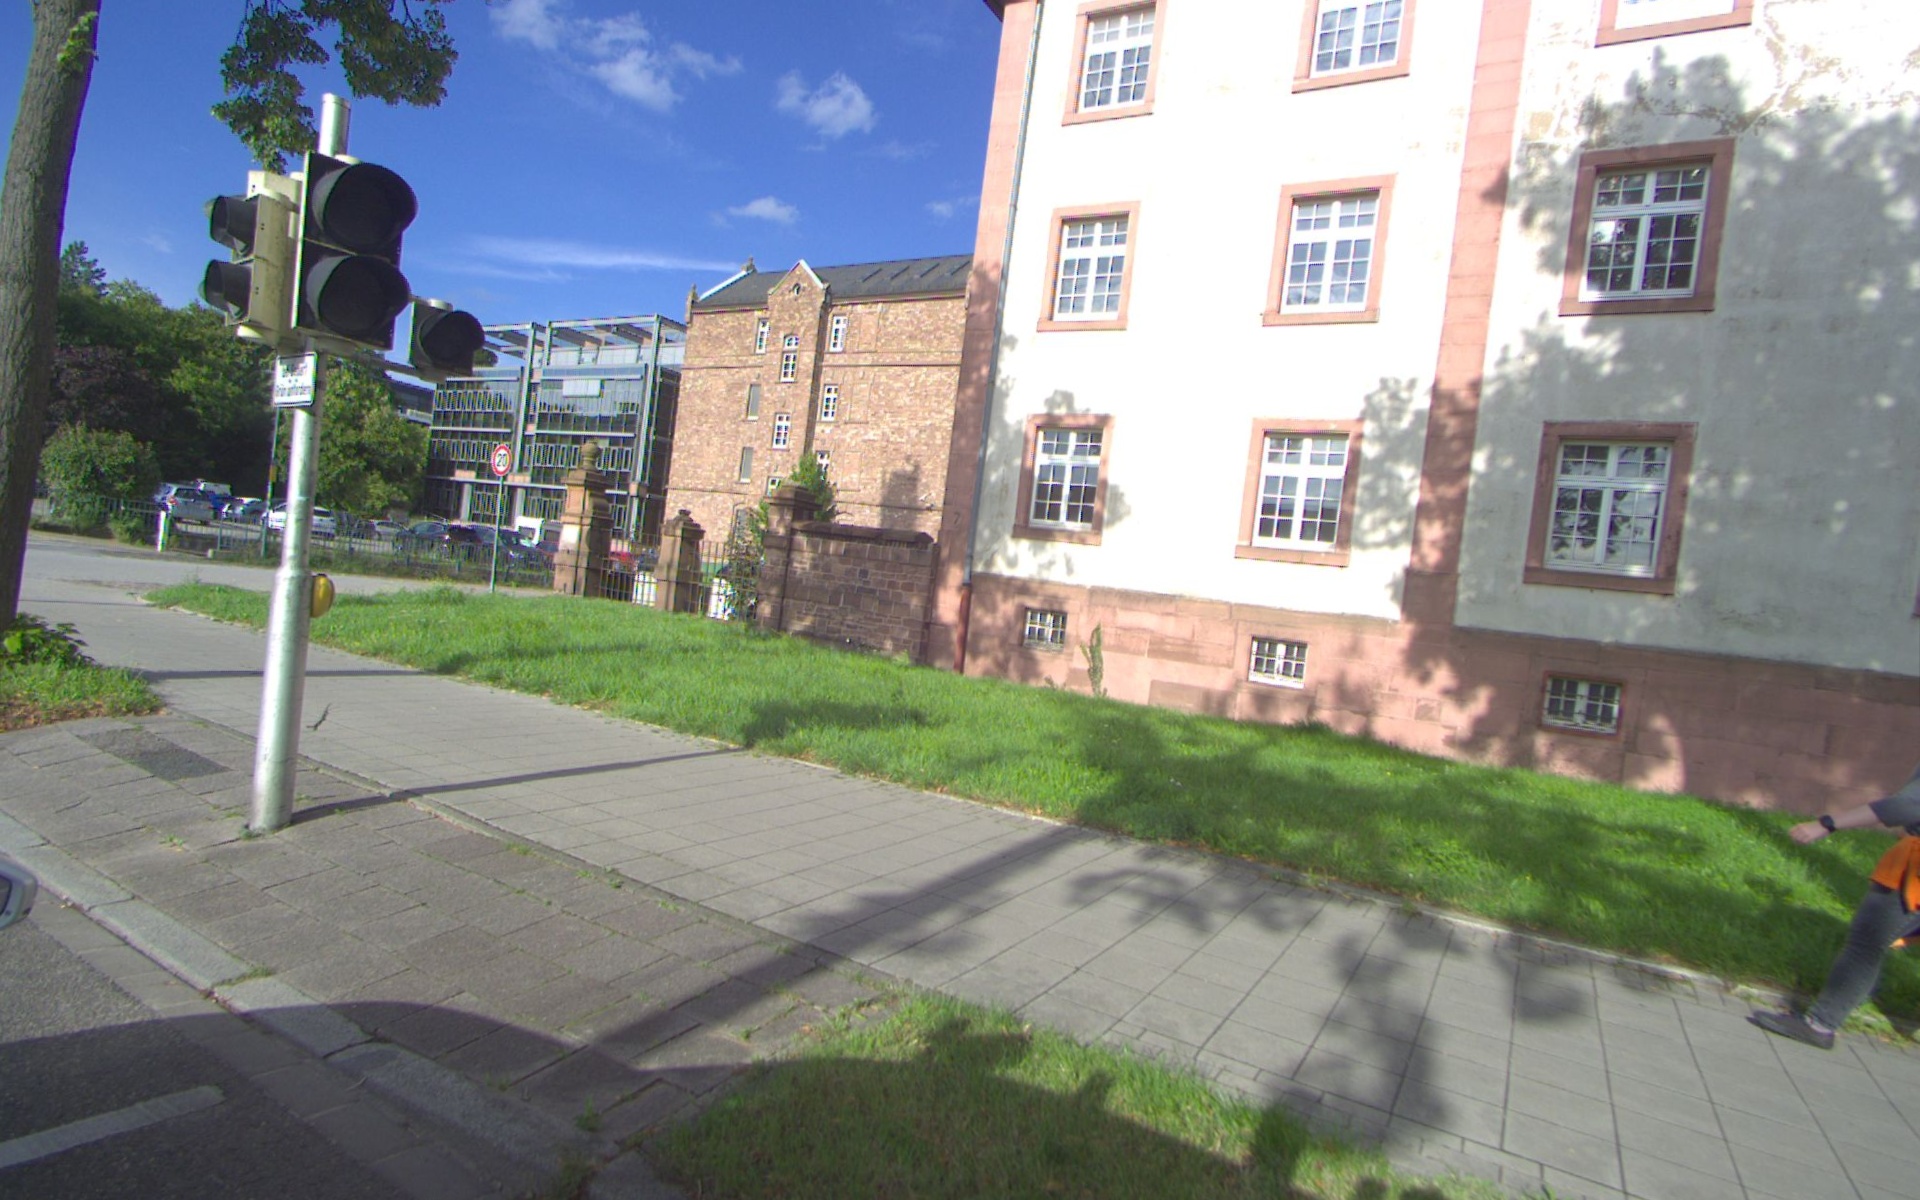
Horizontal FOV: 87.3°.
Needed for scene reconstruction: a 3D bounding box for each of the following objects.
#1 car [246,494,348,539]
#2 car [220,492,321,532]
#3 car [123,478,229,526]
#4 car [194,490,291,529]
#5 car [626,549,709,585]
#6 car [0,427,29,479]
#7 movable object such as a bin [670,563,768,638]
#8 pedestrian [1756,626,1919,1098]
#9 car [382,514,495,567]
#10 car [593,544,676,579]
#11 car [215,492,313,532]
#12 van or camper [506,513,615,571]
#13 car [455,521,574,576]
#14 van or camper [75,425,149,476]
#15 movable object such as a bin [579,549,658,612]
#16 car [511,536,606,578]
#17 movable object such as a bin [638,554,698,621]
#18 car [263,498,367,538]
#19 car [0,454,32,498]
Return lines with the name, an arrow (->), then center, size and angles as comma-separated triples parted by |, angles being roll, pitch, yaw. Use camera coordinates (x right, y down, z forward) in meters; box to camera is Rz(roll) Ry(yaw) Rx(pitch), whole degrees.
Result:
car -> -29.961, -3.783, 45.477 | 3.928, 1.460, 1.998 | 7, 1, 24
car -> -37.339, -4.761, 54.551 | 1.966, 1.505, 3.992 | 8, 1, 30
car -> -32.449, -4.073, 41.643 | 3.931, 1.460, 1.996 | 8, 1, 28
car -> -41.271, -5.178, 57.935 | 1.966, 1.572, 3.992 | 8, 1, 30
car -> -16.012, -1.801, 55.191 | 1.966, 1.460, 3.991 | 8, 1, 31
car -> -44.622, -6.859, 44.883 | 1.968, 2.214, 4.120 | 8, 1, 34
movable object such as a bin -> -5.579, 0.020, 23.309 | 1.517, 1.477, 1.416 | 7, 0, 28
pedestrian -> 3.657, 0.943, 3.781 | 0.756, 1.612, 0.814 | 7, 3, 30
car -> -20.655, -2.369, 39.808 | 4.531, 1.610, 1.851 | 7, 2, 32
car -> -18.229, -2.127, 56.482 | 1.966, 1.460, 3.991 | 8, 1, 31
car -> -39.085, -4.936, 56.547 | 1.966, 1.616, 3.992 | 8, 1, 30
van or camper -> -23.012, -3.311, 58.120 | 2.551, 2.589, 5.246 | 8, 1, 29
car -> -18.625, -2.168, 42.030 | 4.717, 1.766, 1.853 | 7, 2, 26
van or camper -> -55.139, -9.721, 65.405 | 5.038, 2.915, 2.327 | 7, 4, 33
movable object such as a bin -> -7.869, -0.440, 23.225 | 1.074, 1.246, 1.193 | 7, 0, 28
car -> -17.915, -1.905, 44.882 | 3.888, 1.281, 1.712 | 9, 3, 26
movable object such as a bin -> -6.971, -0.288, 24.029 | 0.926, 1.441, 0.831 | 7, 1, 28
car -> -33.267, -4.218, 51.985 | 1.969, 1.325, 3.989 | 7, -1, 36
car -> -40.402, -5.279, 40.245 | 1.968, 1.642, 4.449 | 8, 1, 34
